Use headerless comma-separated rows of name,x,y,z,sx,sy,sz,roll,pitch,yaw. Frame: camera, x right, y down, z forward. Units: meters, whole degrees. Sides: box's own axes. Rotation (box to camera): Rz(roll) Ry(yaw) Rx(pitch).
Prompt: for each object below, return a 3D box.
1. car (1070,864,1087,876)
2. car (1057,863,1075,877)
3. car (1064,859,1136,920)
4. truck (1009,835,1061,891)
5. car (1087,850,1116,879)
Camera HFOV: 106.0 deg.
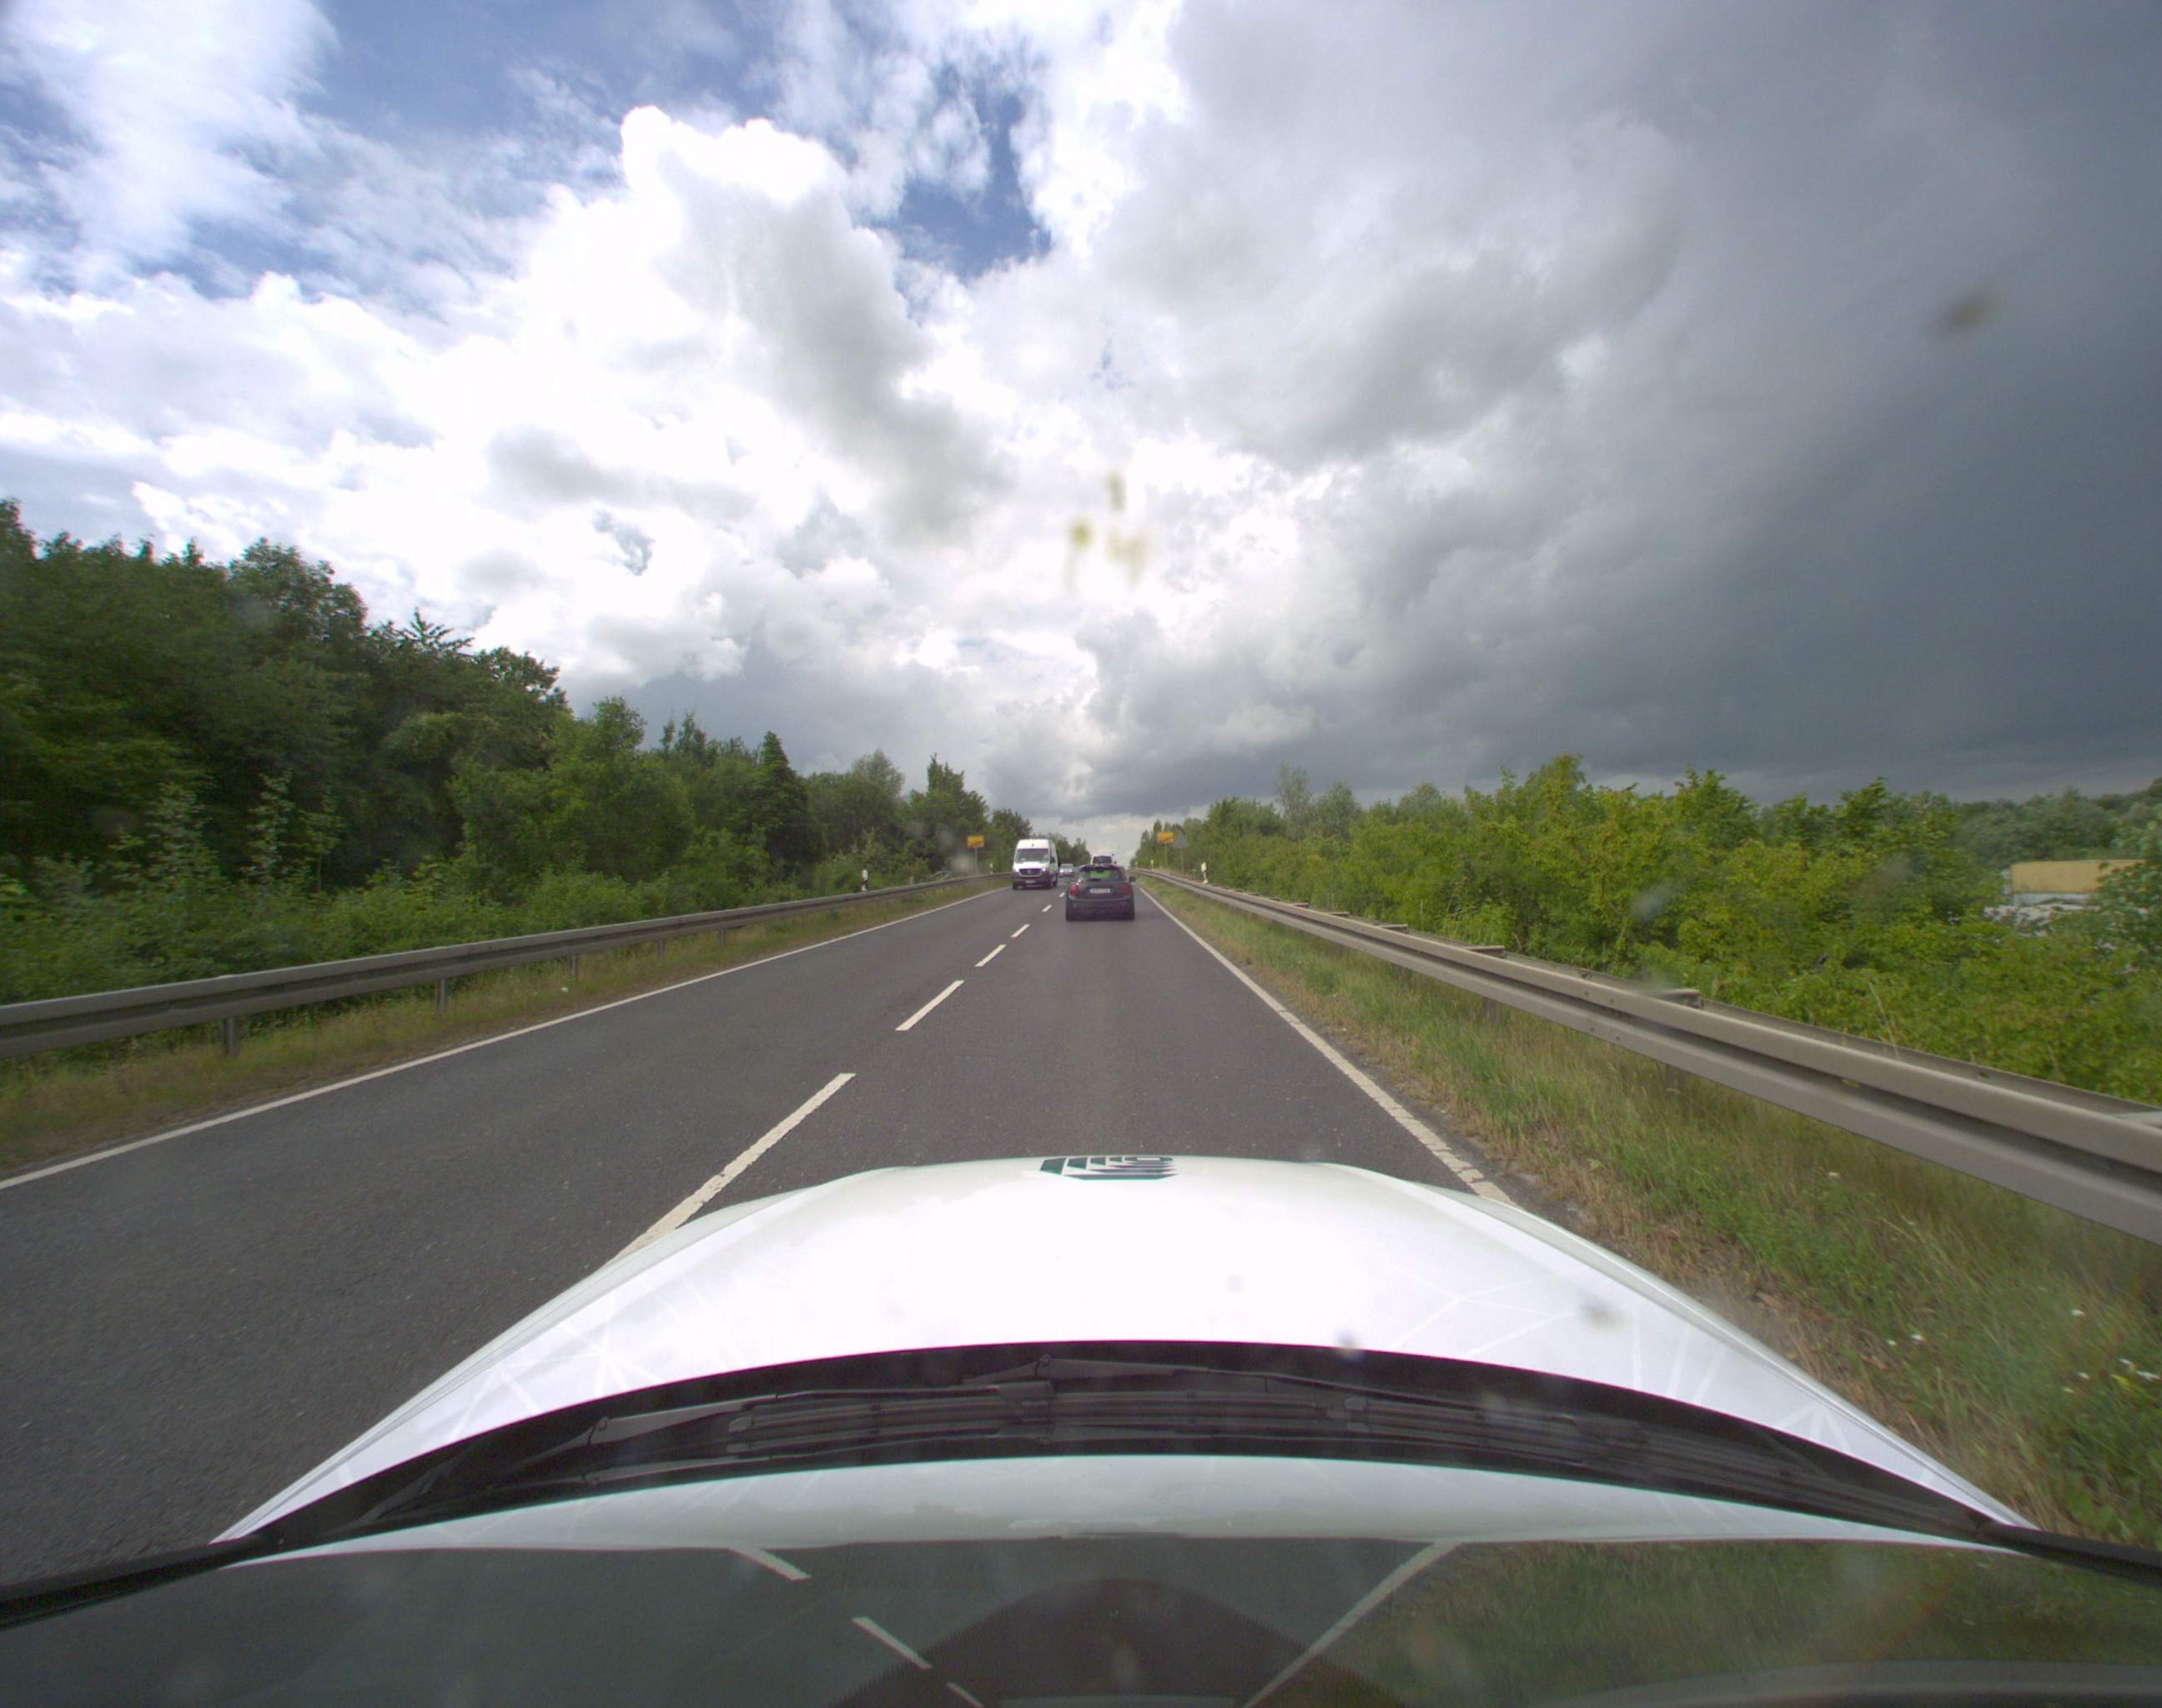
car,-0.342,2.071,105.913,1.827,1.420,4.004,-1,-2,4
car,-1.582,1.749,87.364,1.829,1.445,3.999,-1,-1,0
car,0.521,0.883,21.864,1.725,1.456,4.001,-1,0,2
truck,-2.379,0.464,44.011,2.057,2.742,7.012,-1,0,3
car,1.540,0.769,60.761,2.015,2.013,4.001,-2,-1,1
